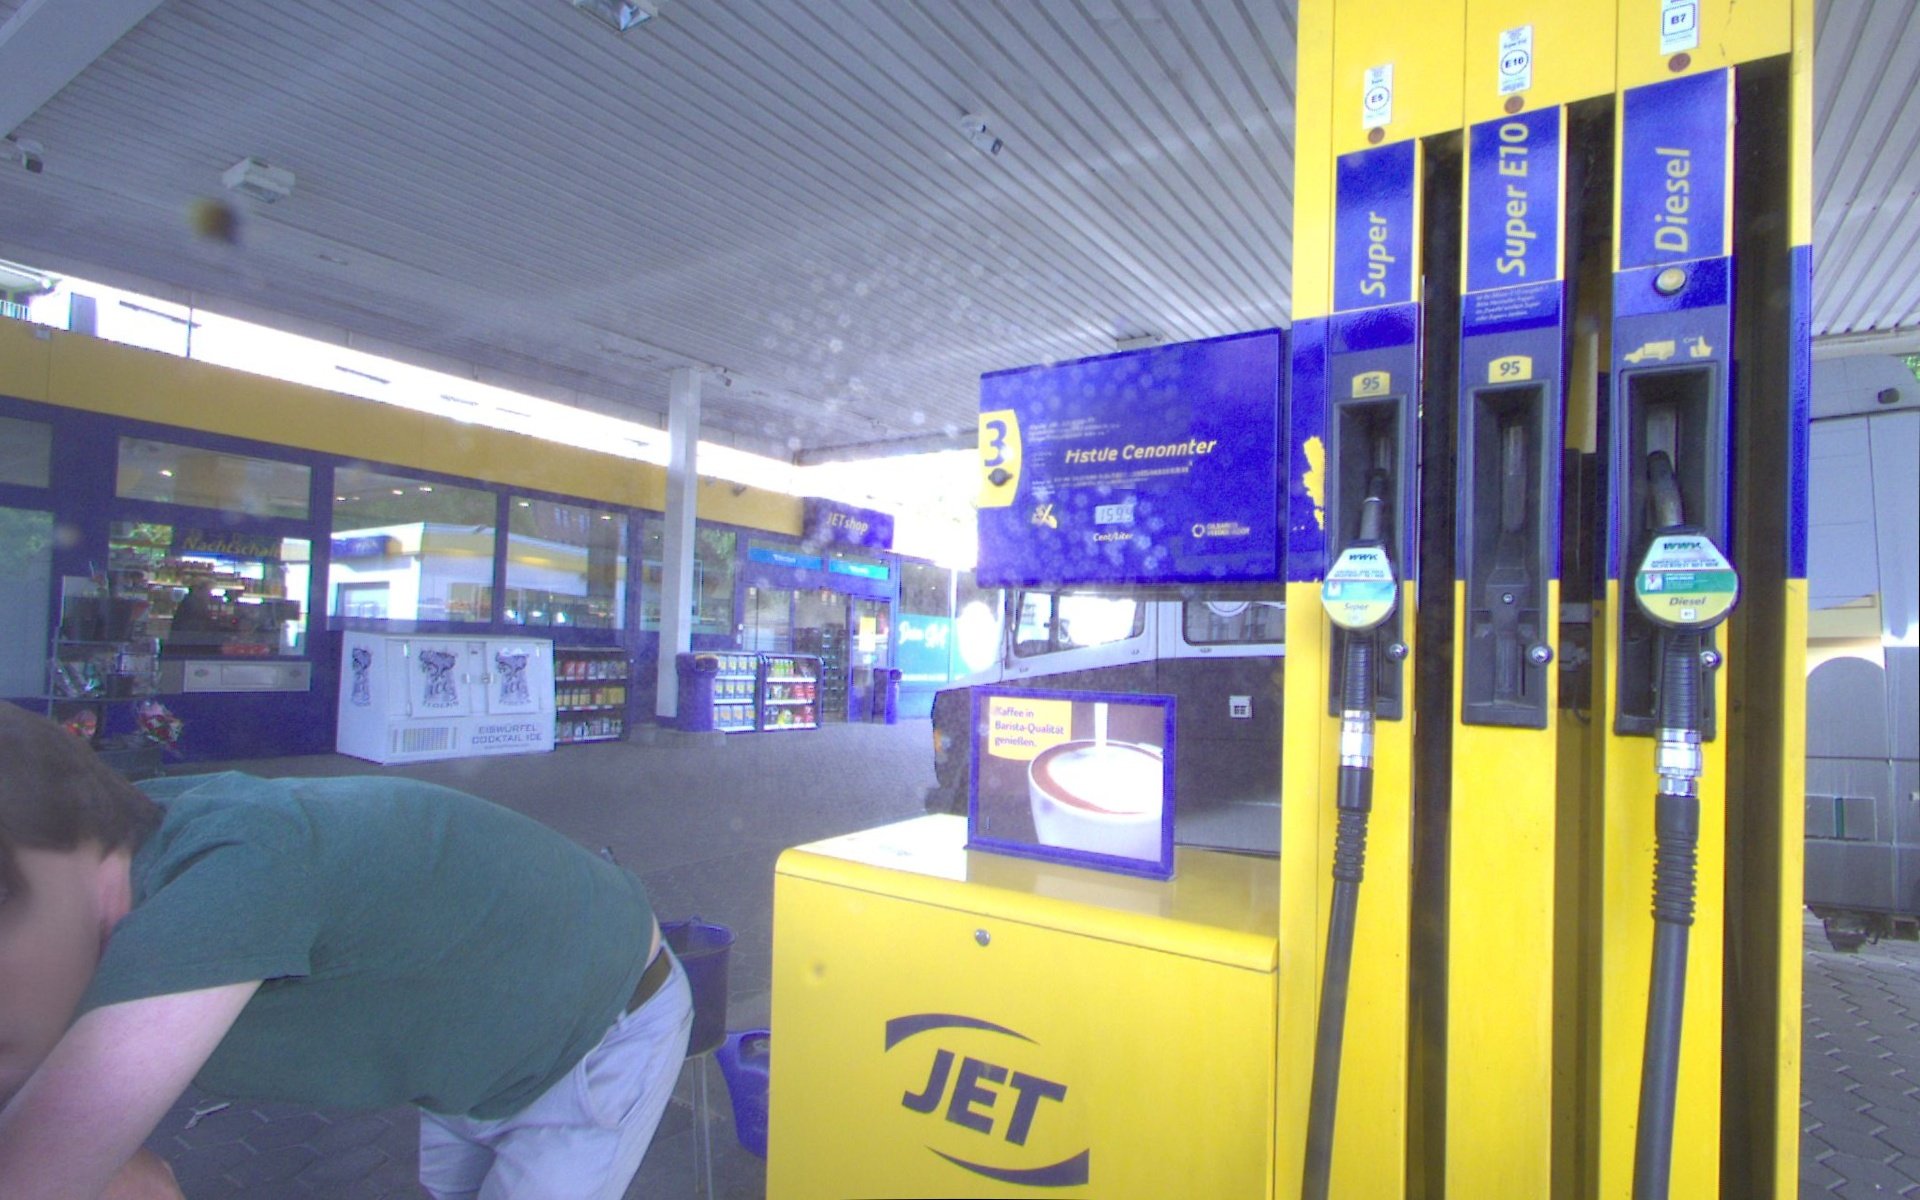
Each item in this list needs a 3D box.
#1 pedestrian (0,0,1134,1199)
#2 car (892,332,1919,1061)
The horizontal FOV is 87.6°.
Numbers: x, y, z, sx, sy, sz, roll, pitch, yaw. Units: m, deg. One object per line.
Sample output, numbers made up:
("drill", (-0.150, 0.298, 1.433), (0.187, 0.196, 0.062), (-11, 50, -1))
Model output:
("pedestrian", (-0.518, 0.584, 1.084), (0.981, 1.750, 1.175), (-2, -2, 36))
("car", (2.354, 0.443, 6.001), (5.271, 2.759, 2.193), (-1, -3, 34))
